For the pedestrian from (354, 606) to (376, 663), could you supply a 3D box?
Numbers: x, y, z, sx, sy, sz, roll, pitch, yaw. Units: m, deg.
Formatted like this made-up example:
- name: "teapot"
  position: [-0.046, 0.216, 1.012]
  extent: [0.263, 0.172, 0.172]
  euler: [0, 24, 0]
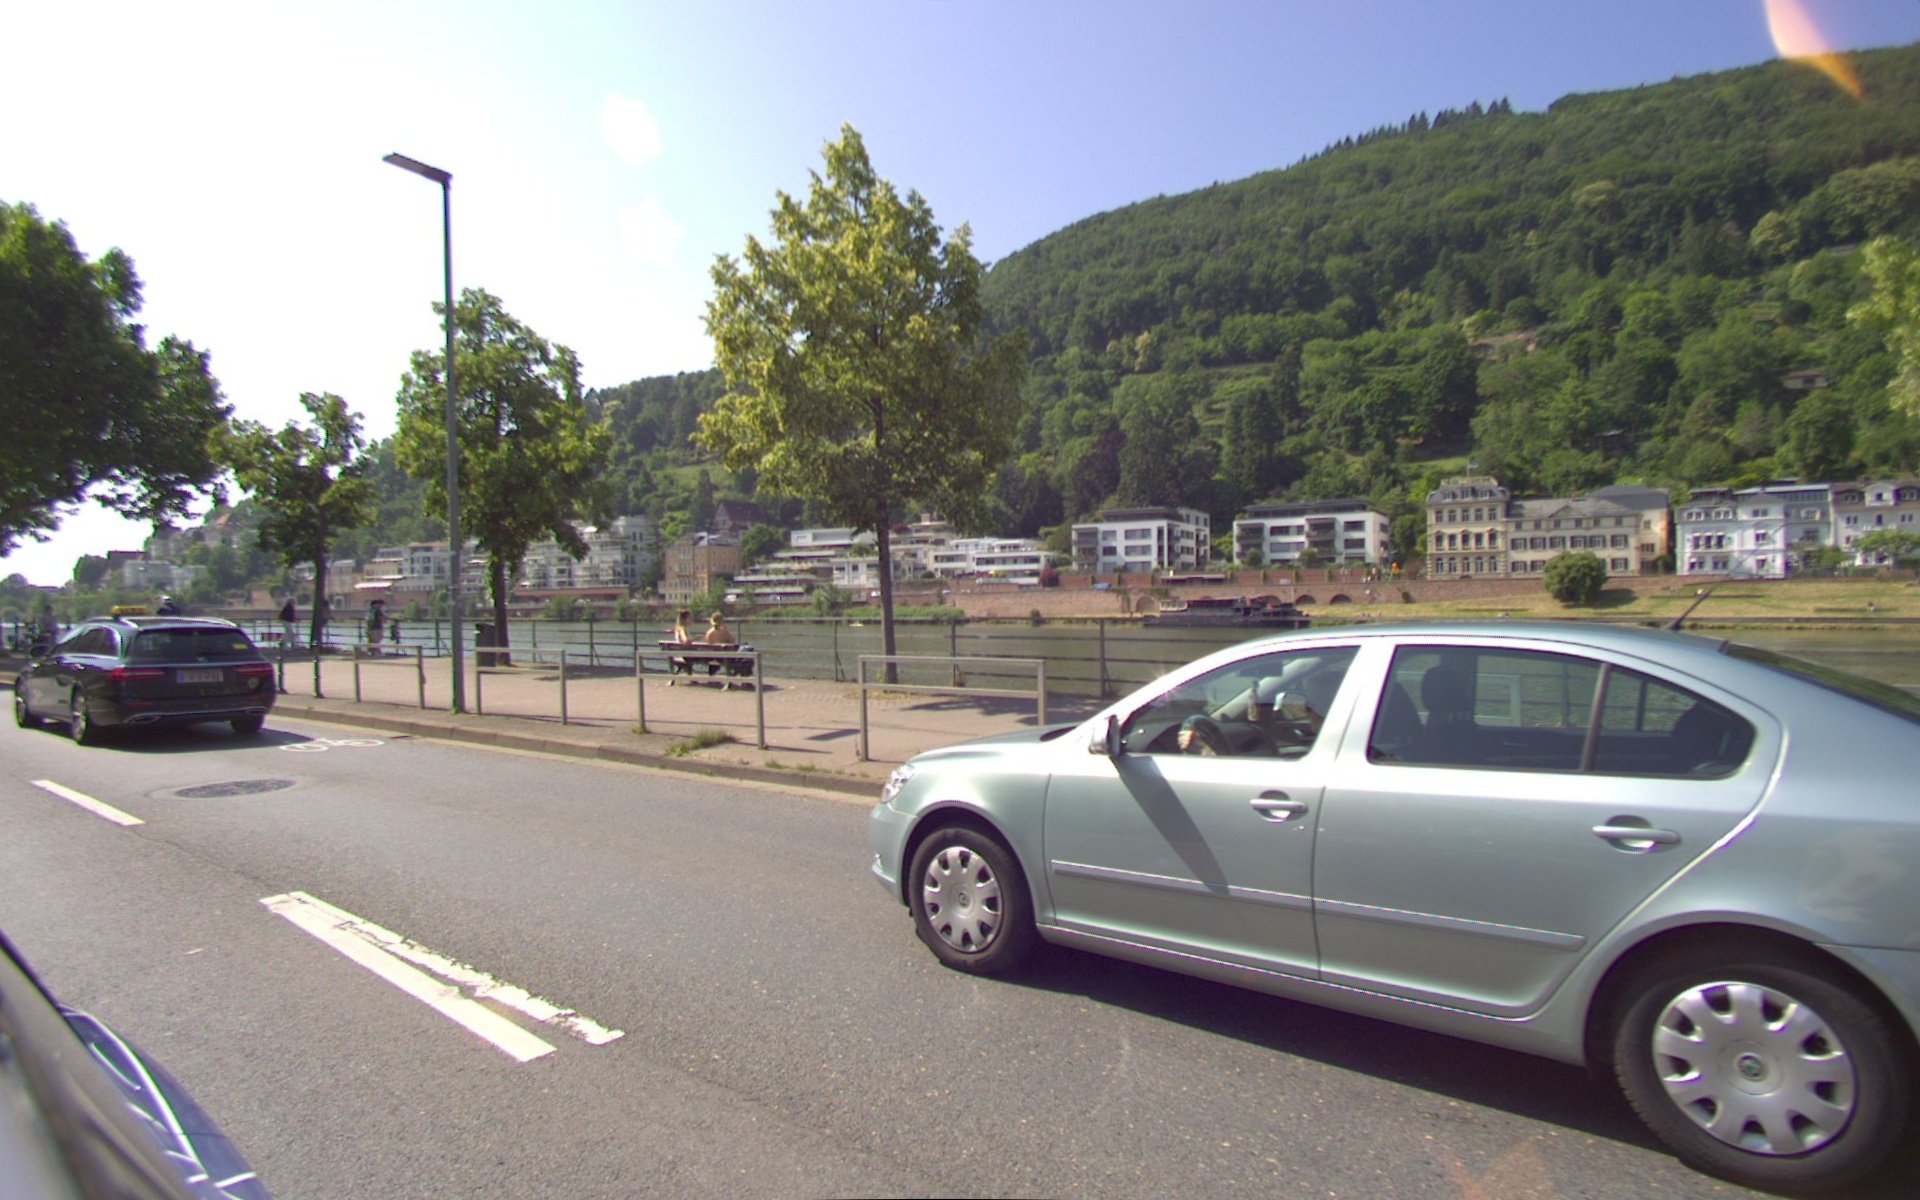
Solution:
- name: "pedestrian"
  position: [-16.942, 0.972, 28.794]
  extent: [0.450, 1.609, 0.410]
  euler: [-1, 0, 42]

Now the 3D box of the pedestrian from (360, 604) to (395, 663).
- name: "pedestrian"
  position: [-16.419, 0.921, 28.531]
  extent: [0.663, 1.628, 0.686]
  euler: [-1, 0, 42]

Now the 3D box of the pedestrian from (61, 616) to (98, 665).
- name: "pedestrian"
  position: [-29.242, 1.323, 33.606]
  extent: [0.694, 1.598, 0.755]
  euler: [-1, -2, 33]

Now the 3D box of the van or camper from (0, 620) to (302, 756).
- name: "van or camper"
  position: [-10.603, 0.997, 13.116]
  extent: [4.674, 1.466, 1.975]
  euler: [-1, -2, 37]

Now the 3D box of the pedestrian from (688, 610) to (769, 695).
- name: "pedestrian"
  position: [-3.681, 0.814, 16.093]
  extent: [0.849, 1.290, 0.926]
  euler: [-1, 0, 43]

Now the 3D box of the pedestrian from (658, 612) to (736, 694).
- name: "pedestrian"
  position: [-4.342, 0.845, 16.722]
  extent: [0.849, 1.290, 0.926]
  euler: [-1, 0, 43]

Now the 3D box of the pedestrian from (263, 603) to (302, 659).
- name: "pedestrian"
  position: [-21.273, 0.965, 31.781]
  extent: [0.657, 1.695, 0.750]
  euler: [-1, 2, 34]

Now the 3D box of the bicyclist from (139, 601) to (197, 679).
- name: "bicyclist"
  position: [-17.522, 0.871, 22.397]
  extent: [1.087, 1.680, 0.734]
  euler: [-2, -1, 36]

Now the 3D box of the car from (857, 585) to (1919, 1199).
- name: "car"
  position: [1.772, 0.737, 3.736]
  extent: [4.306, 1.439, 1.795]
  euler: [-2, -2, 40]

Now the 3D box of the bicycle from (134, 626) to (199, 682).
- name: "bicycle"
  position: [-17.655, 1.182, 22.499]
  extent: [1.893, 1.177, 0.704]
  euler: [-2, 0, 38]

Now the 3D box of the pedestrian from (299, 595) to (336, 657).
- name: "pedestrian"
  position: [-20.429, 0.814, 32.170]
  extent: [0.884, 1.960, 0.688]
  euler: [-1, 0, 33]
